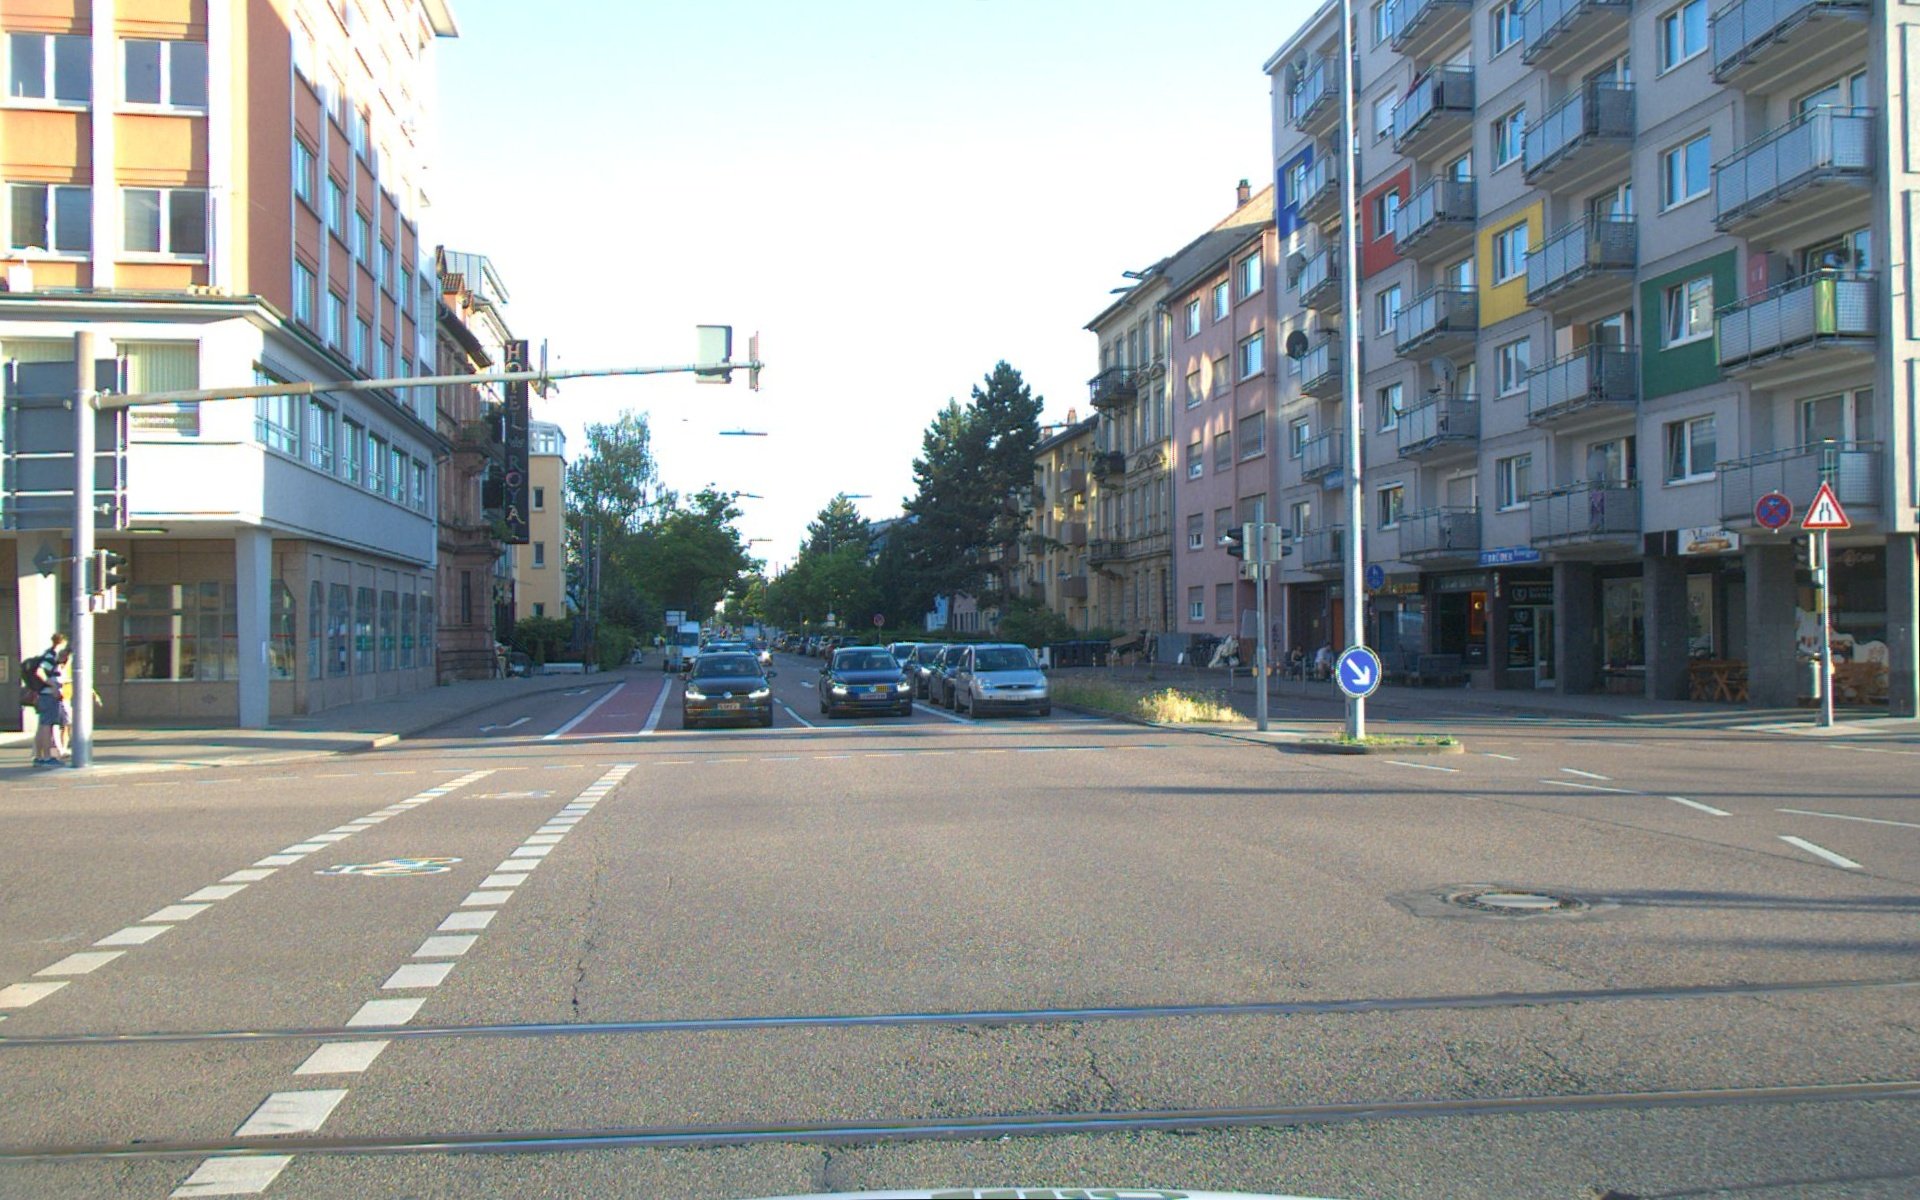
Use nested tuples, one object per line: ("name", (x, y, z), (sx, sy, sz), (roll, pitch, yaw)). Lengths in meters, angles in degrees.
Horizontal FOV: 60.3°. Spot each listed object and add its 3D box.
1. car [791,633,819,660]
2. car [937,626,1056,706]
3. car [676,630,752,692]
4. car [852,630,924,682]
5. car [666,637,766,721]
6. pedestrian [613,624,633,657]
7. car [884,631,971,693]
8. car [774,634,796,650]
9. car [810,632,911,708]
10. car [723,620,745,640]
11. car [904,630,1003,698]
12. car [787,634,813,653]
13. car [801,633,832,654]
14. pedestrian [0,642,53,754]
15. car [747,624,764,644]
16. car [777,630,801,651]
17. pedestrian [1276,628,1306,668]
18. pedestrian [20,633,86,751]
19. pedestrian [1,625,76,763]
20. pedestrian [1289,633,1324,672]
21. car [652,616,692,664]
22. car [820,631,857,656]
("car", (-12.468, 3.720, 133.136), (1.957, 2.032, 4.211), (-1, -1, -9))
("car", (0.695, 1.336, 34.635), (1.955, 1.512, 3.994), (-1, -1, -7))
("car", (-6.744, 1.636, 45.352), (1.956, 1.558, 3.992), (-1, -1, -9))
("car", (-2.300, 1.736, 52.039), (1.955, 1.512, 3.994), (-1, -1, -7))
("car", (-4.850, 1.539, 33.318), (1.844, 1.512, 3.994), (-1, -1, -7))
("pedestrian", (-20.737, 2.494, 101.849), (1.009, 2.049, 0.938), (0, -1, -23))
("car", (-0.926, 1.626, 44.421), (1.955, 1.512, 3.994), (-1, -1, -7))
("car", (-17.335, 4.163, 163.831), (1.957, 1.544, 4.211), (-1, -1, -9))
("car", (-2.226, 1.486, 36.143), (1.955, 1.512, 3.994), (-1, -1, -7))
("car", (-28.093, 3.714, 205.326), (2.568, 2.418, 5.244), (-1, -1, -9))
("car", (-0.213, 1.497, 39.797), (1.955, 1.512, 3.994), (-1, -1, -7))
("car", (-13.626, 3.704, 140.697), (1.957, 1.544, 4.211), (-1, -1, -9))
("car", (-10.796, 3.237, 124.130), (1.957, 1.544, 4.211), (-1, -1, -9))
("pedestrian", (-14.650, 1.521, 25.804), (0.715, 1.714, 0.583), (-1, -1, -12))
("car", (-25.279, 4.180, 204.744), (1.957, 2.418, 3.991), (-1, -1, -9))
("car", (-15.767, 3.732, 152.612), (1.957, 1.866, 4.211), (-1, -1, -9))
("pedestrian", (10.779, 1.547, 53.884), (0.698, 1.278, 0.790), (-1, -1, -13))
("pedestrian", (-14.573, 1.469, 26.594), (0.698, 1.850, 0.750), (-1, -1, -10))
("pedestrian", (-13.614, 1.370, 24.430), (0.703, 1.981, 0.722), (-2, -1, 34))
("pedestrian", (10.825, 1.649, 51.710), (0.842, 1.191, 0.790), (-1, -1, -9))
("car", (-14.937, 2.069, 85.815), (1.957, 2.365, 4.211), (-1, -1, -9))
("car", (-7.671, 2.712, 103.850), (1.957, 1.544, 4.211), (-1, -1, -9))
